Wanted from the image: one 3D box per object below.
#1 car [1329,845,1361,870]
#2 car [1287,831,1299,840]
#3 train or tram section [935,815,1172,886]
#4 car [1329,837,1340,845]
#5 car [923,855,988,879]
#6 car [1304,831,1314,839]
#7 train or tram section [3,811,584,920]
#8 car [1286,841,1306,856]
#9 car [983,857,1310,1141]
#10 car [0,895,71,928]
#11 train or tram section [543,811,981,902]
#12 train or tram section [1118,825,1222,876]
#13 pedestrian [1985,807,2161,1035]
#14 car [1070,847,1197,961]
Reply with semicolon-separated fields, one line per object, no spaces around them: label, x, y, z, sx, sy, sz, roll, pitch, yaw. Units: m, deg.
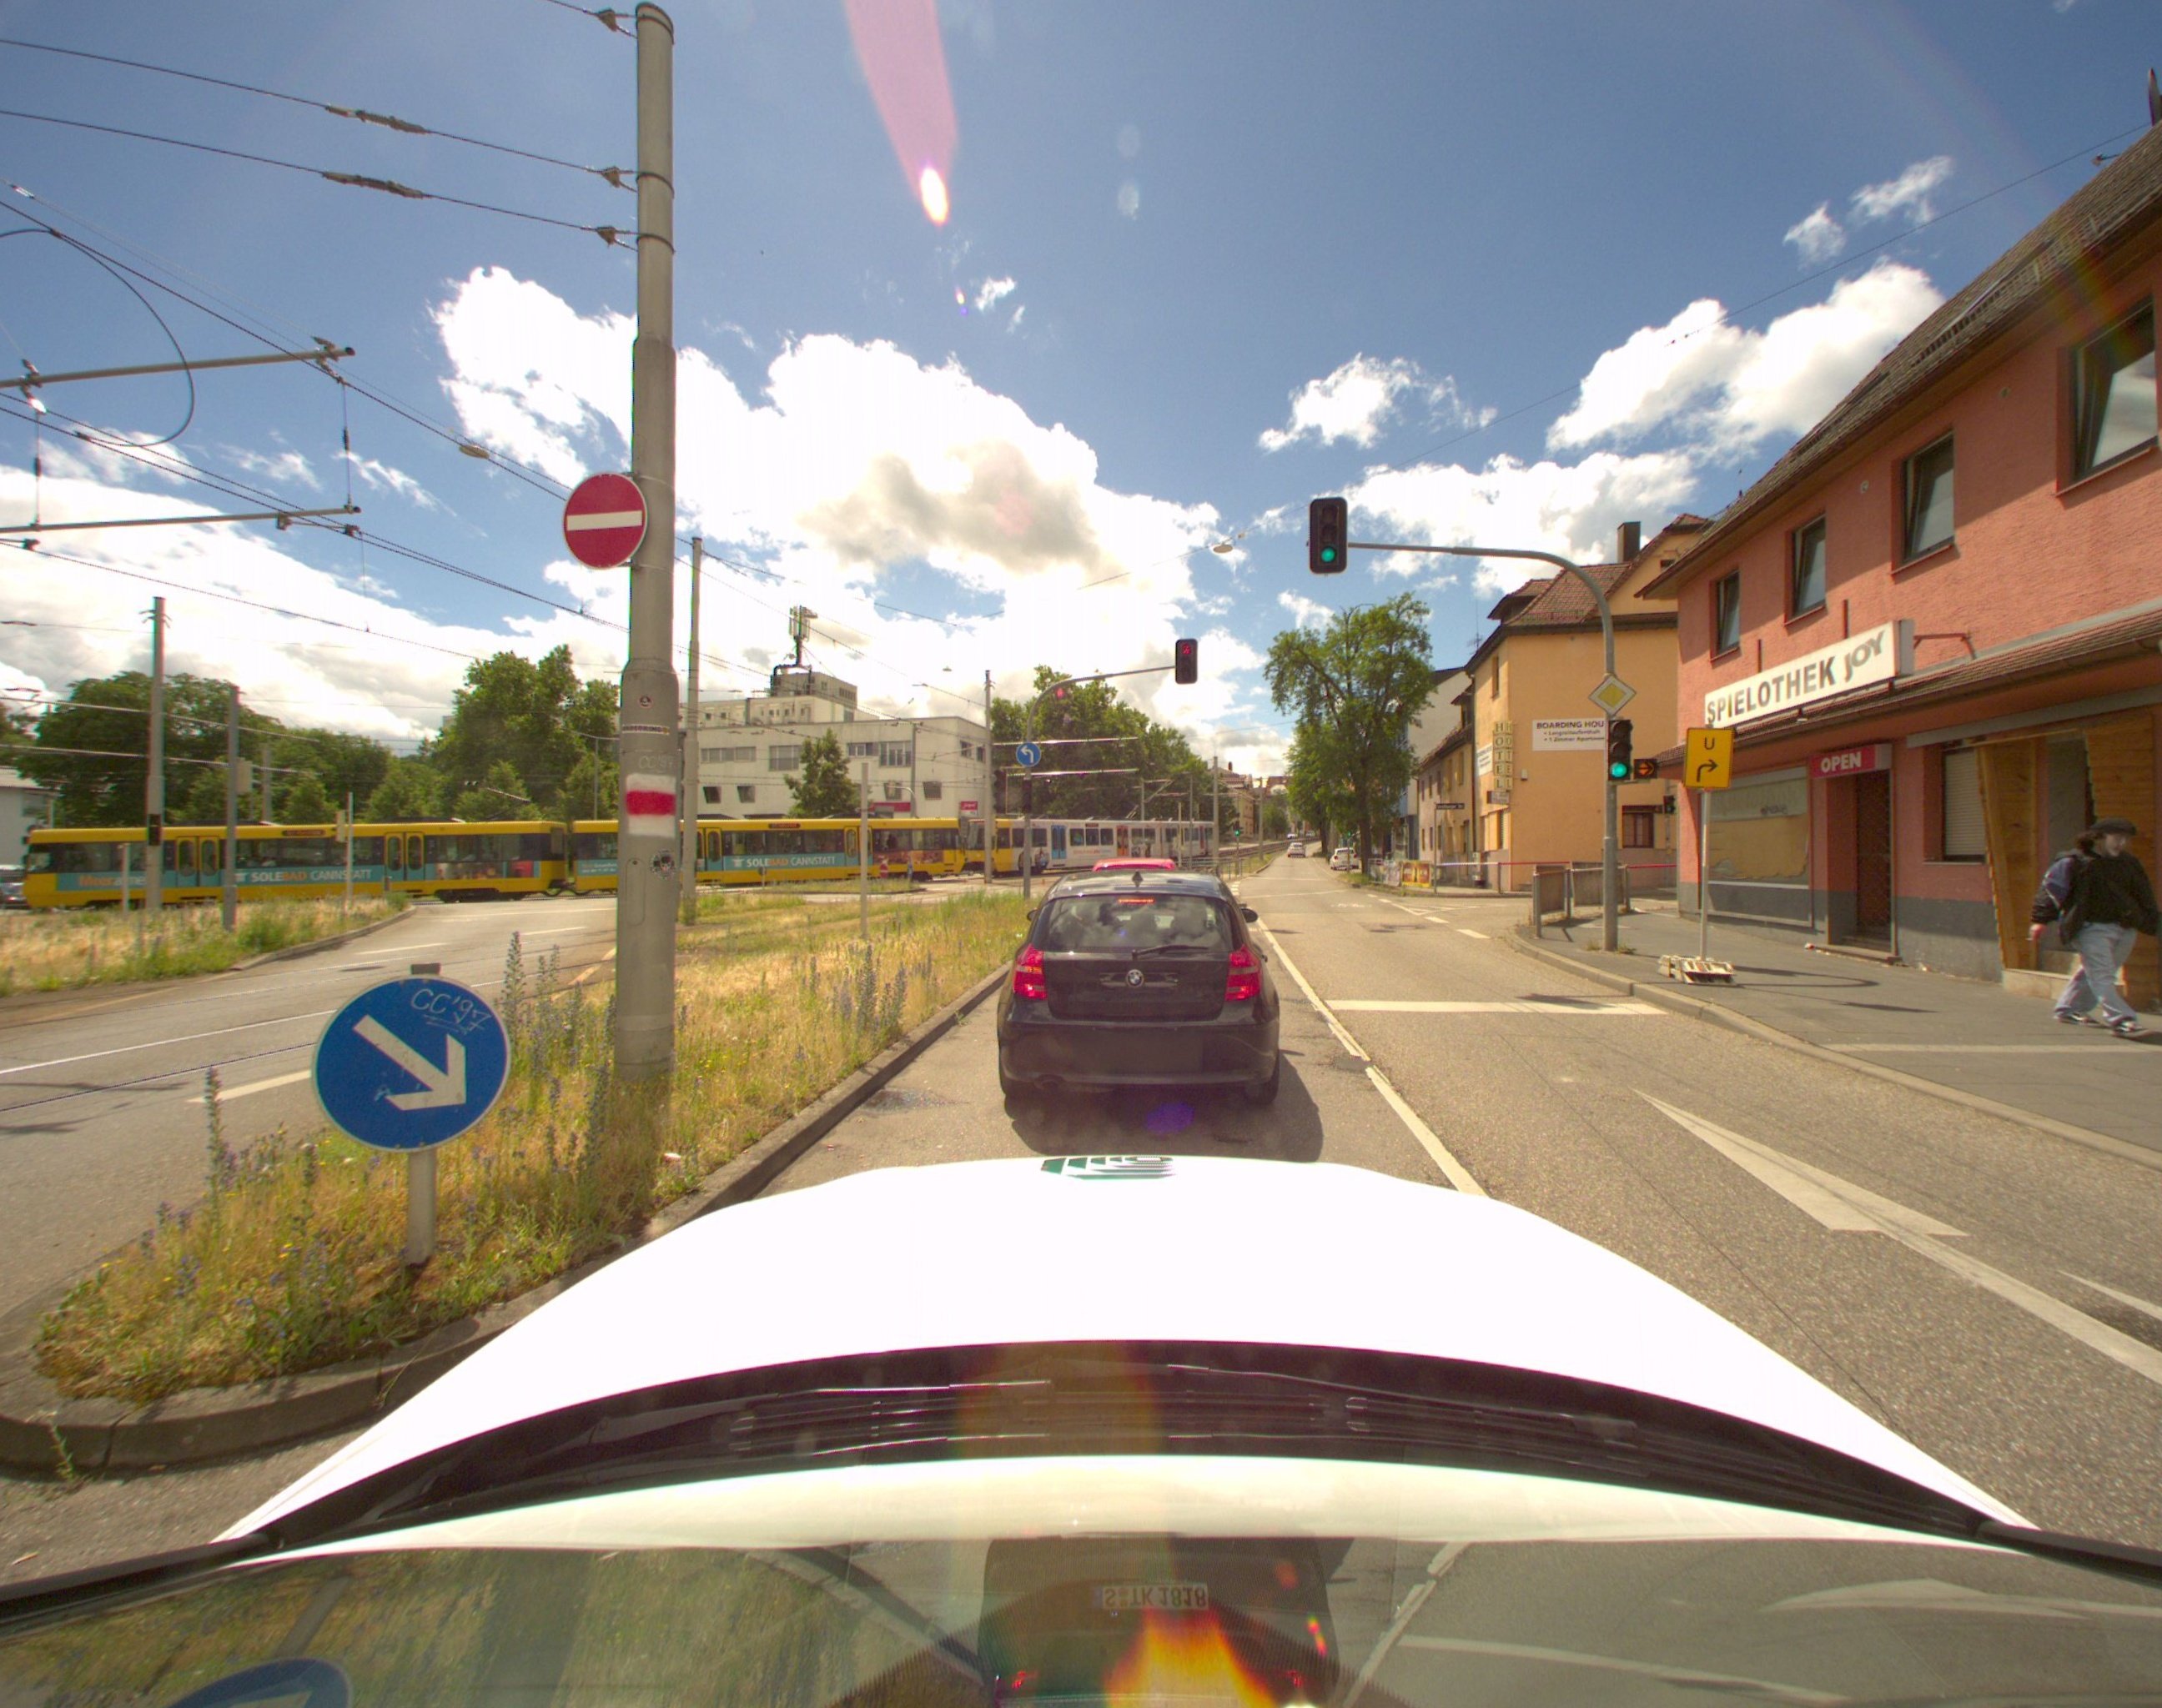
car;17.964;0.225;55.536;1.774;1.596;4.016;-2;-1;15
car;48.650;-4.226;186.920;1.976;2.014;4.022;-2;-1;23
train or tram section;-0.774;-0.221;54.473;3.712;3.879;20.767;-2;-1;36
car;47.611;-2.436;153.019;1.801;1.468;4.017;1;1;16
car;-8.841;0.890;57.509;4.192;1.585;1.836;-1;-1;-42
car;57.687;-4.763;206.025;1.976;2.014;4.022;-2;-1;23
train or tram section;-32.431;0.387;34.838;18.837;3.919;3.748;-1;-1;-11
car;22.465;-0.562;85.351;1.803;1.468;4.013;-1;0;12
car;0.338;0.796;6.322;1.696;1.452;3.999;-2;-1;0
car;-58.168;3.168;44.577;4.212;1.651;1.925;-2;-1;12
train or tram section;-15.125;-0.007;41.432;20.217;3.829;3.724;-1;-1;-32
train or tram section;8.417;-0.226;71.757;3.716;3.814;20.157;-2;-1;22
pedestrian;7.747;0.475;6.250;0.759;1.642;0.781;-2;1;13
car;0.968;0.693;12.808;1.616;1.473;4.009;-2;-1;8
